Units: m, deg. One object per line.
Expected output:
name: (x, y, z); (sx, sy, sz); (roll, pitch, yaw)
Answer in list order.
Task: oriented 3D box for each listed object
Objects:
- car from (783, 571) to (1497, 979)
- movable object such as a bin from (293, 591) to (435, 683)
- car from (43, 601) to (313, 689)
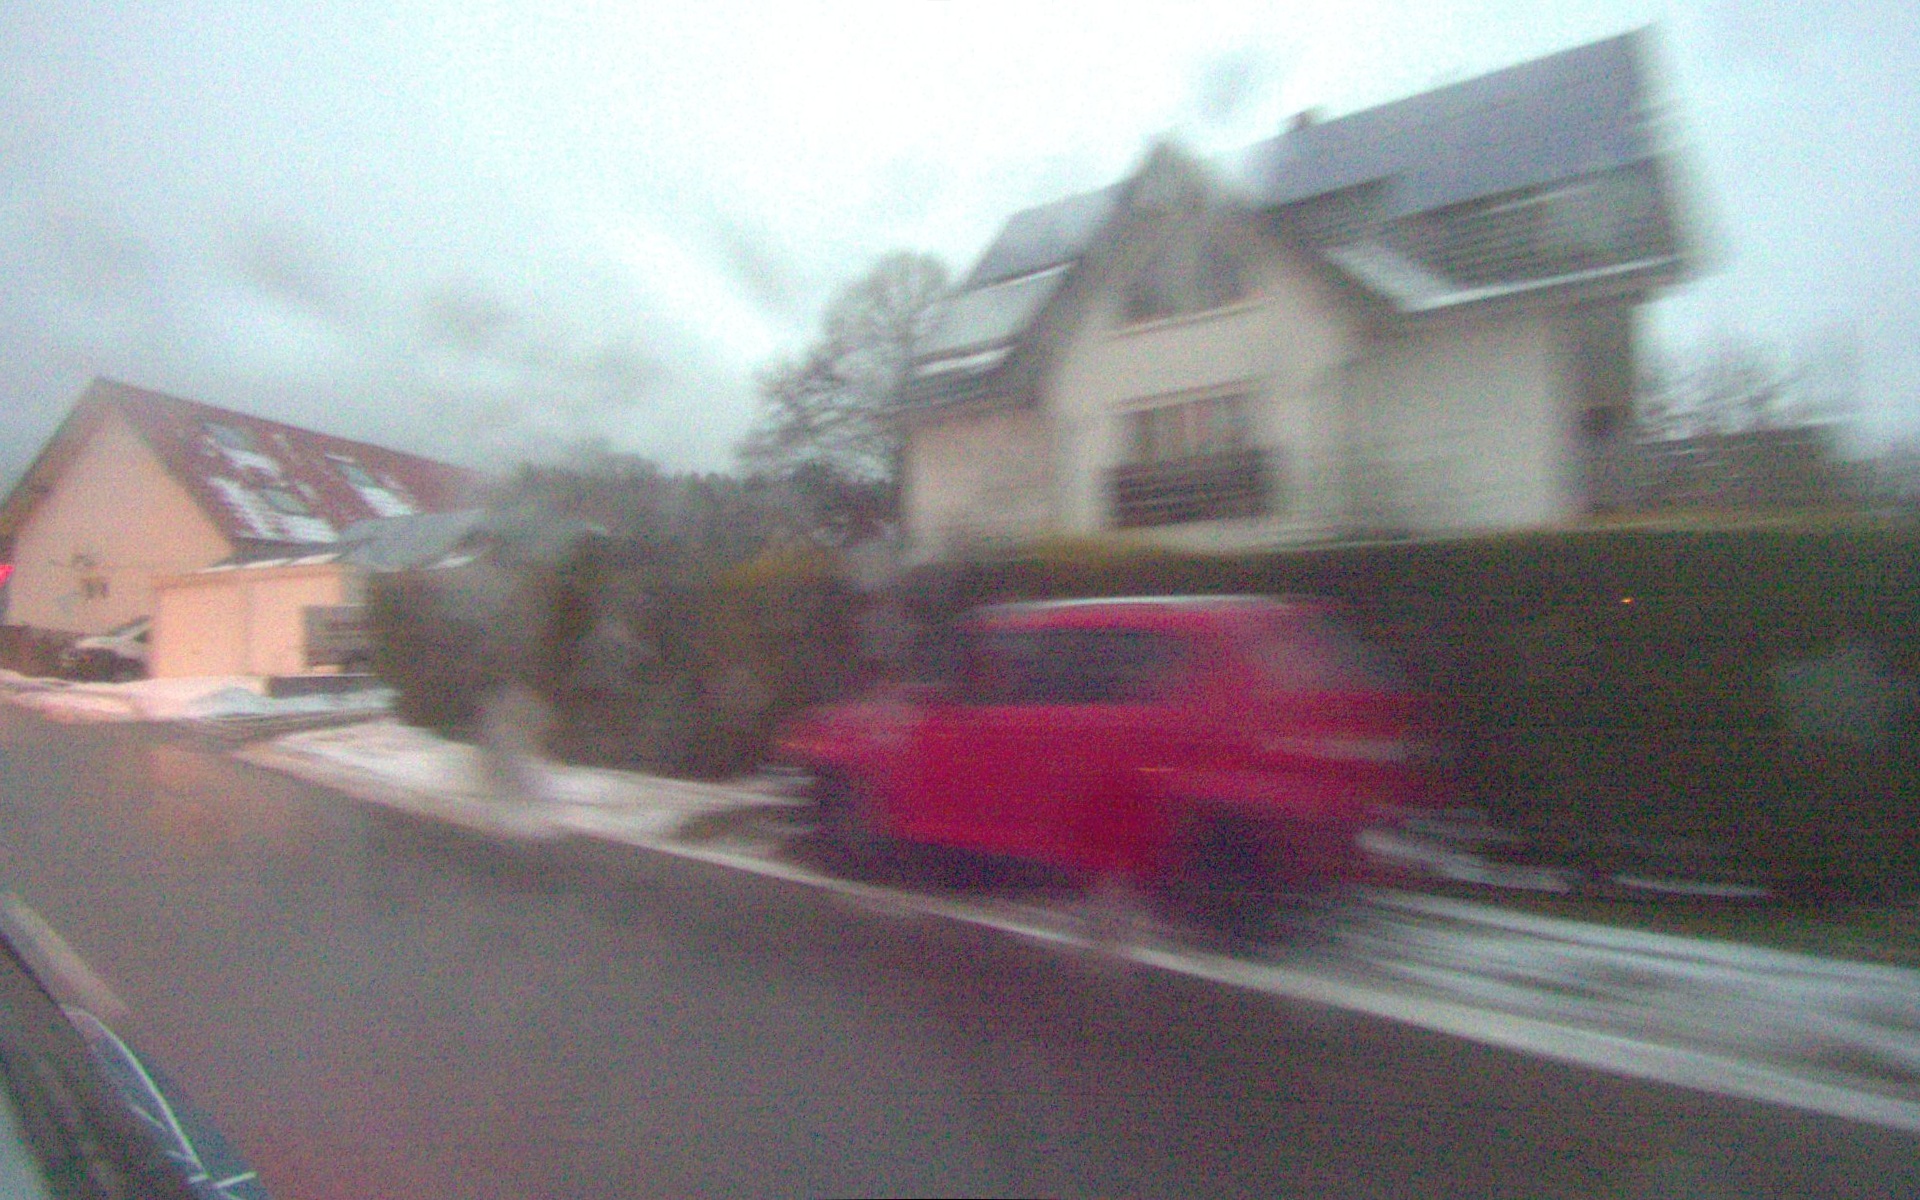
car: (0.853, 0.750, 5.615); (3.511, 1.546, 1.702); (-2, -3, 37)
movable object such as a bin: (-11.956, 0.706, 20.311); (2.332, 1.661, 1.445); (-3, 0, -34)
car: (-20.656, 1.184, 27.017); (2.208, 2.029, 5.220); (2, -1, 32)
